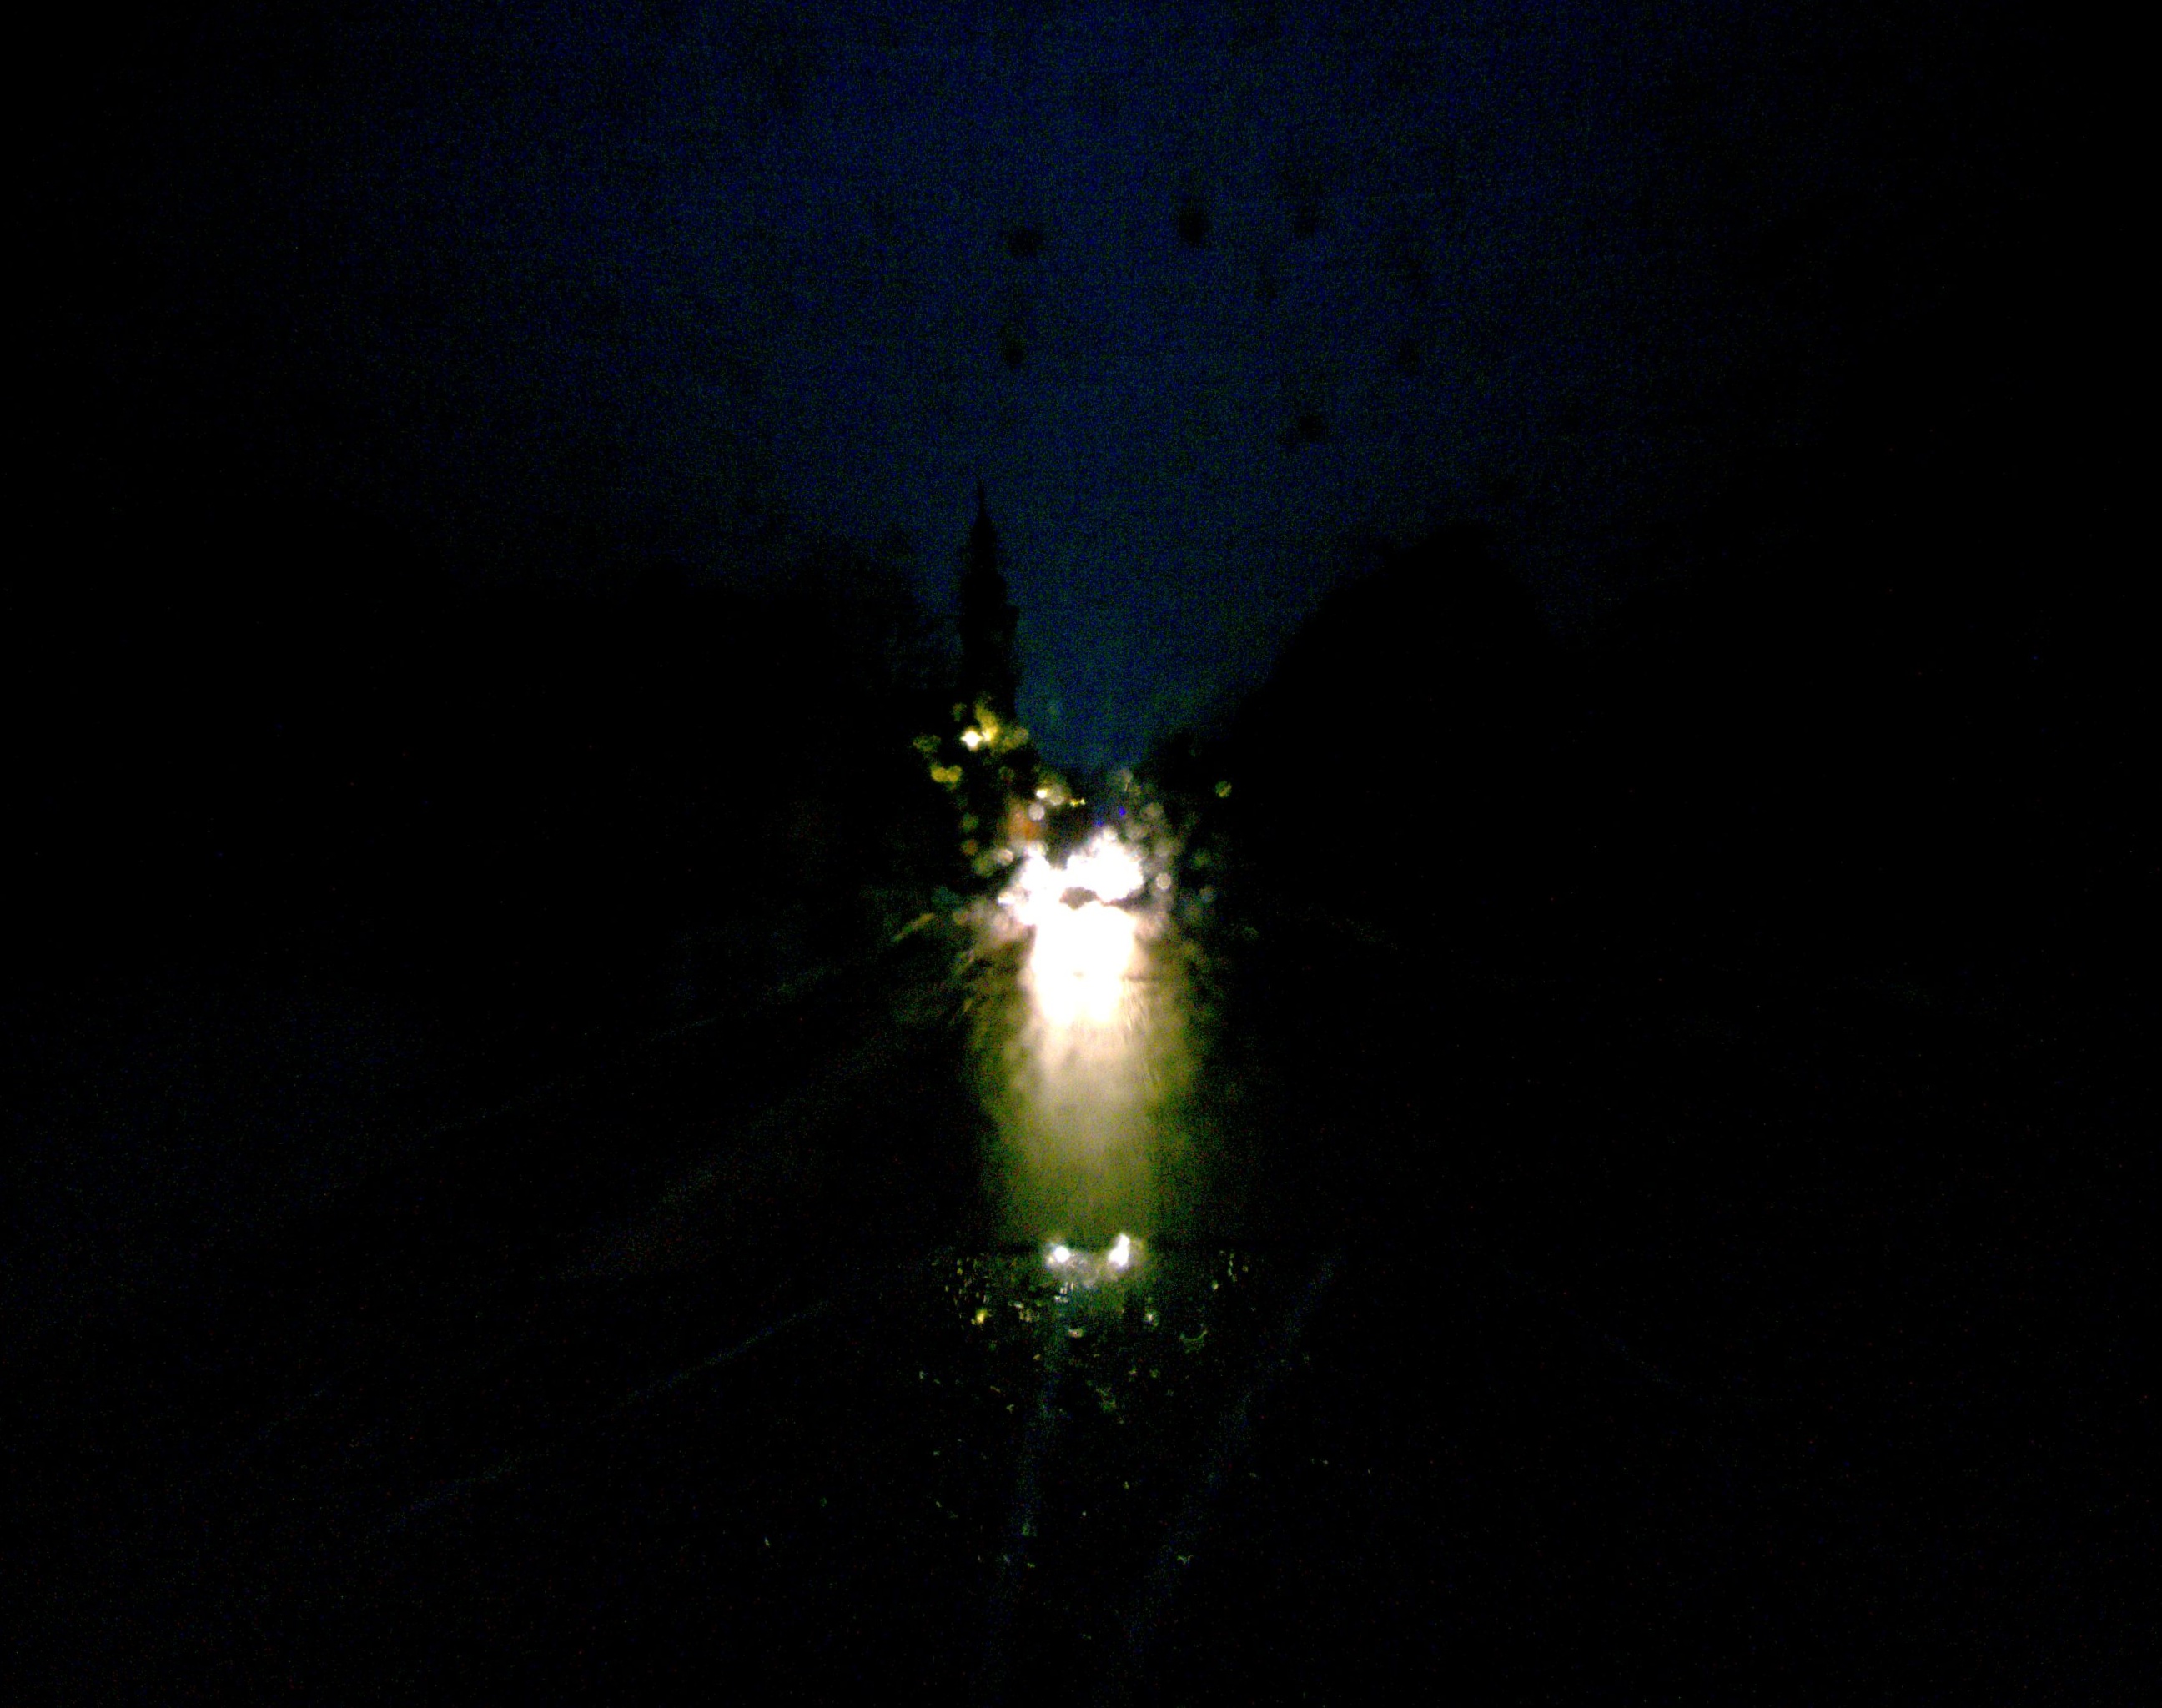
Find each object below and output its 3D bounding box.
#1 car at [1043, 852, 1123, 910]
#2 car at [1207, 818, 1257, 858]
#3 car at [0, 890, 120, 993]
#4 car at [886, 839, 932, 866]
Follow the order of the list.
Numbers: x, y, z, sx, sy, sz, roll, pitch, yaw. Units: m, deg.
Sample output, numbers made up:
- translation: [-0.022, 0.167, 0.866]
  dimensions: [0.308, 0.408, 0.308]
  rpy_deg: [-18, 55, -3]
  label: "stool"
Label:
- translation: [-0.034, 0.668, 21.559]
  dimensions: [1.999, 1.373, 4.932]
  rpy_deg: [-1, 1, -2]
  label: "car"
- translation: [8.677, -0.949, 44.018]
  dimensions: [1.998, 2.026, 4.080]
  rpy_deg: [-6, 2, 2]
  label: "car"
- translation: [-19.306, 1.592, 11.959]
  dimensions: [2.323, 1.600, 4.530]
  rpy_deg: [-2, 2, 15]
  label: "car"
- translation: [-10.675, -0.115, 46.939]
  dimensions: [1.758, 1.405, 4.070]
  rpy_deg: [-3, 4, -27]
  label: "car"
